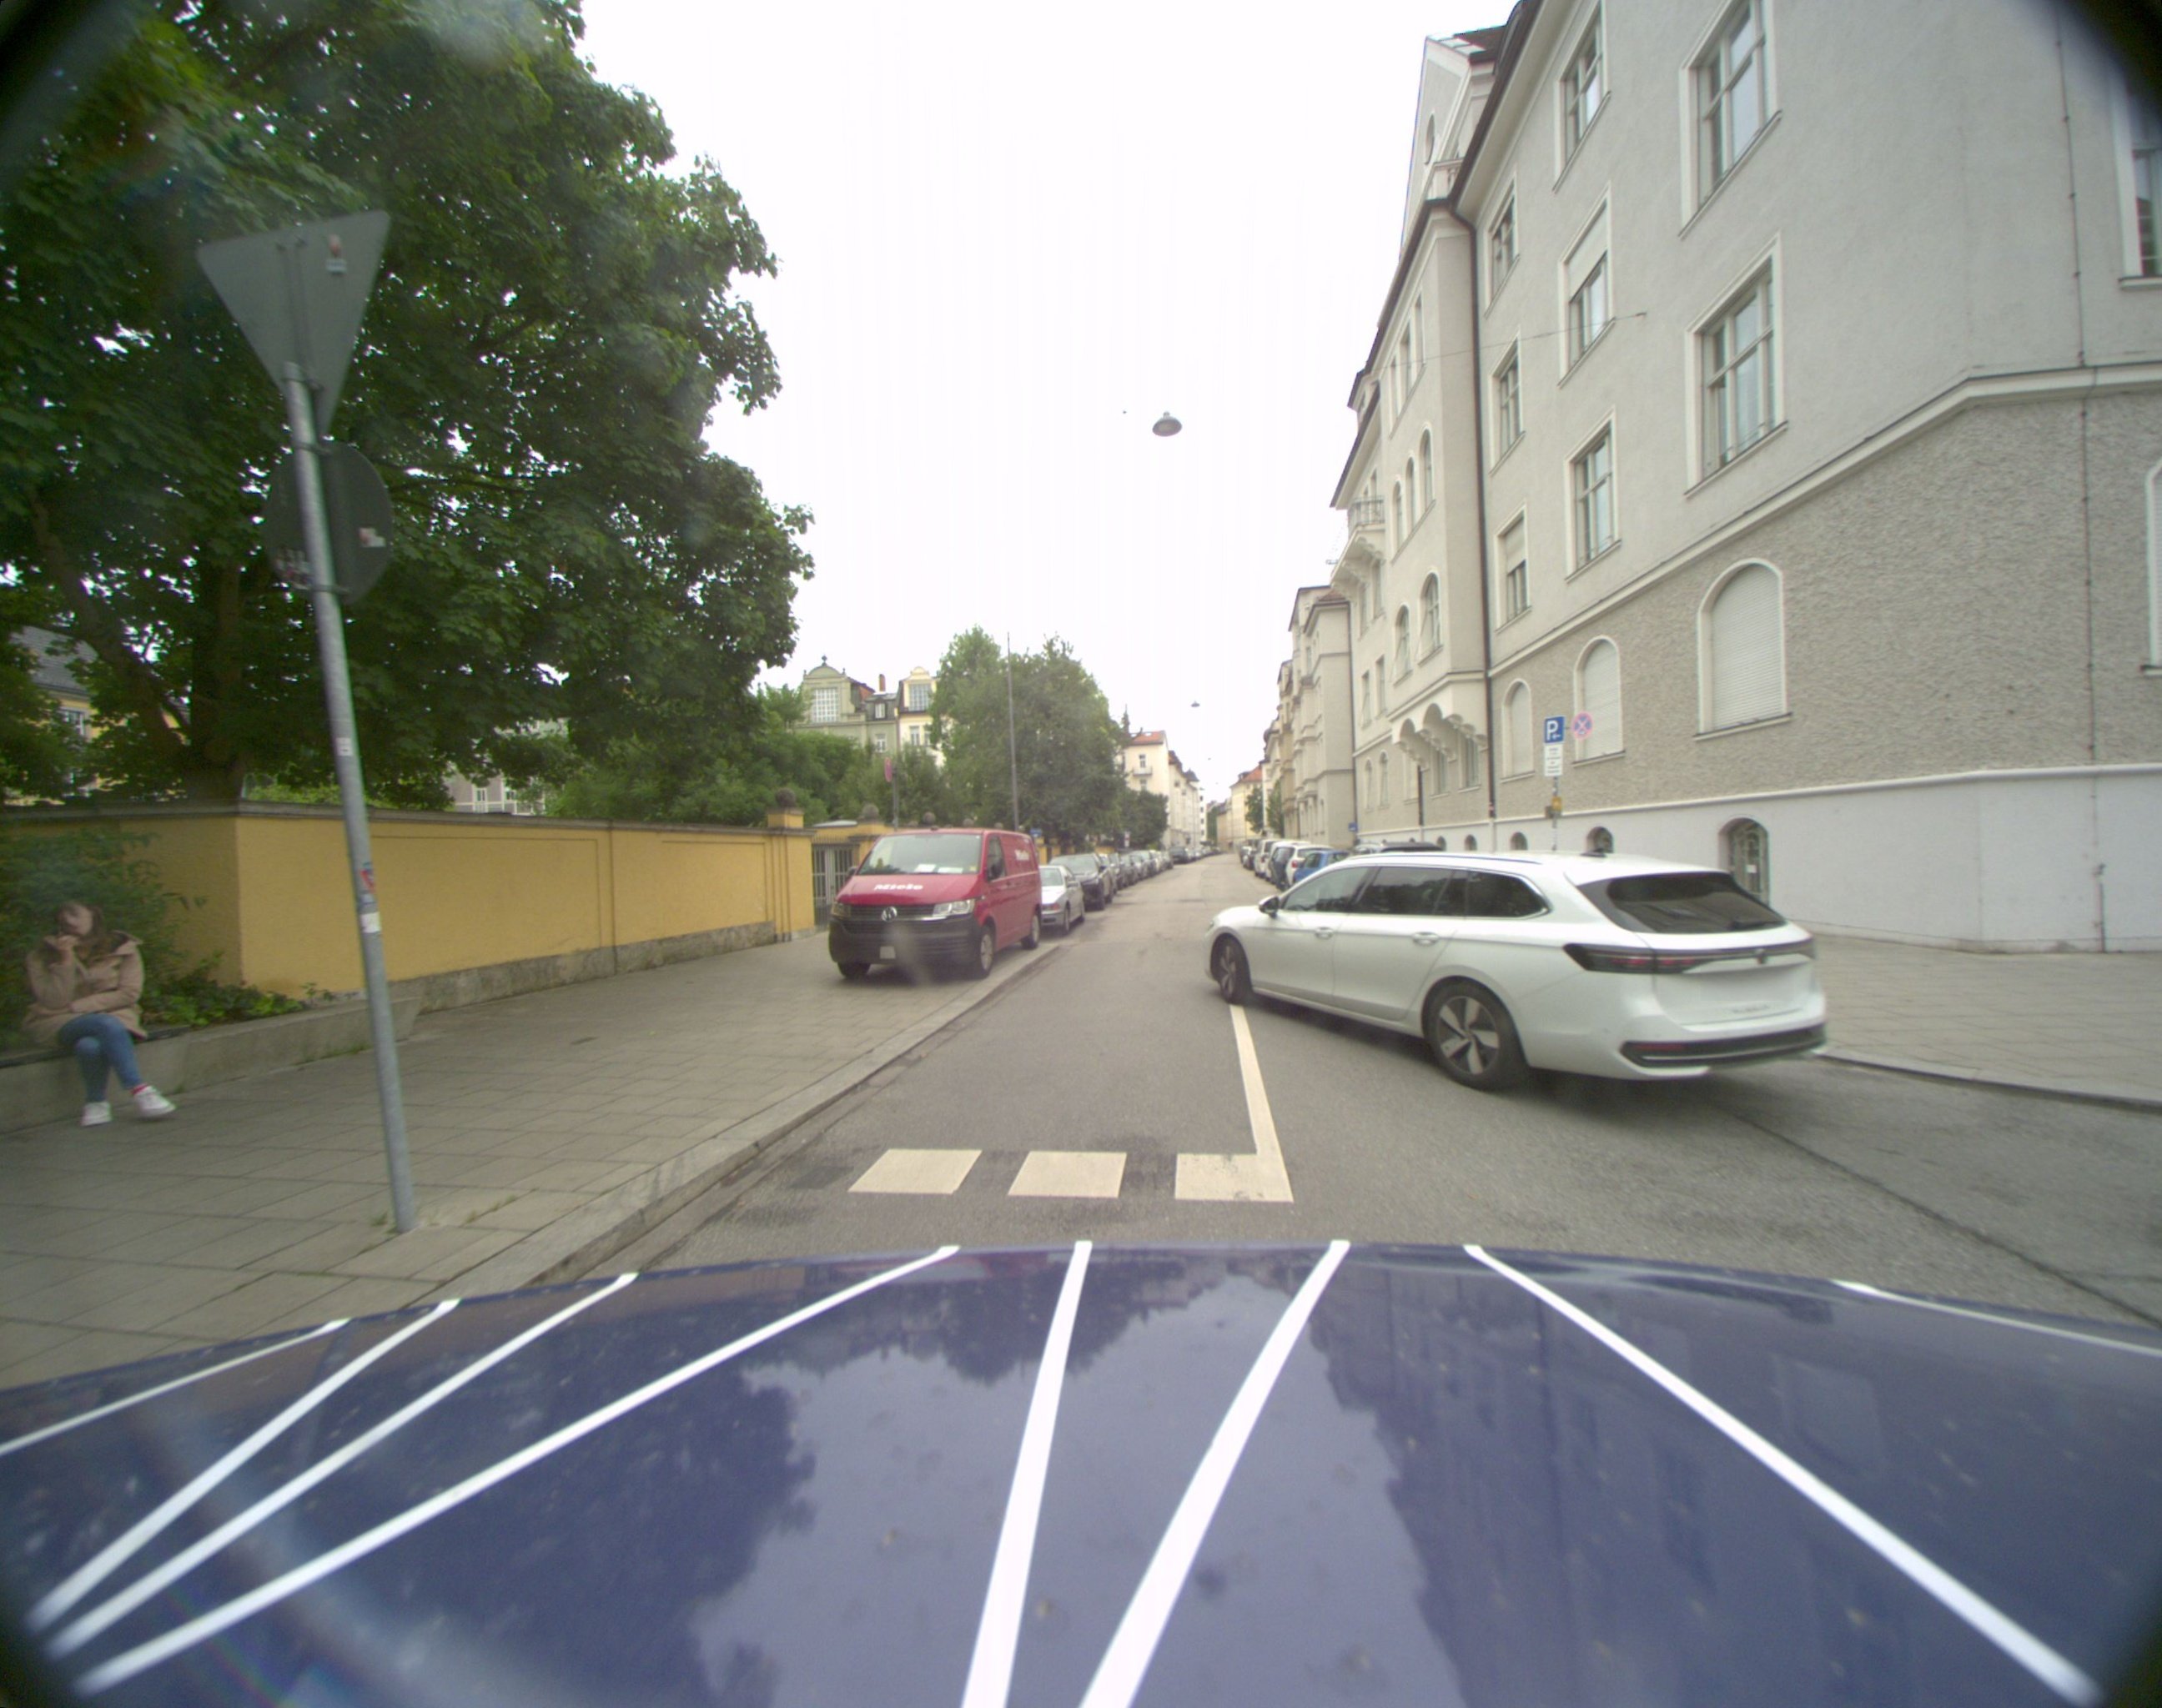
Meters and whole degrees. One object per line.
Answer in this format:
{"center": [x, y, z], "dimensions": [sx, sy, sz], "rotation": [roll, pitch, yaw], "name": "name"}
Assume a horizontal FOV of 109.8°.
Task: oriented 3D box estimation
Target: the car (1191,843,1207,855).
{"center": [18.094, -0.773, 116.113], "dimensions": [1.997, 1.585, 4.302], "rotation": [-6, -1, 13], "name": "car"}

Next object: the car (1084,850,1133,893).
{"center": [1.196, 0.701, 31.897], "dimensions": [1.510, 1.557, 2.871], "rotation": [-4, 0, 10], "name": "car"}

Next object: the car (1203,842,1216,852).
{"center": [25.310, -1.383, 149.679], "dimensions": [1.997, 1.585, 4.302], "rotation": [-6, -1, 13], "name": "car"}

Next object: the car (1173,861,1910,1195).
{"center": [2.770, 0.825, 6.101], "dimensions": [1.892, 1.440, 4.882], "rotation": [-3, 1, -21], "name": "car"}

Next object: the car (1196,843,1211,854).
{"center": [20.963, -0.946, 129.808], "dimensions": [1.997, 1.585, 4.302], "rotation": [-6, -1, 13], "name": "car"}

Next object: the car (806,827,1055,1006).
{"center": [-1.789, 0.686, 10.945], "dimensions": [1.877, 1.909, 4.890], "rotation": [-4, 0, 8], "name": "car"}

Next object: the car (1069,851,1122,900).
{"center": [0.583, 0.719, 27.505], "dimensions": [1.487, 1.530, 3.694], "rotation": [-4, 0, 6], "name": "car"}

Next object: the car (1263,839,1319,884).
{"center": [9.061, 0.252, 33.078], "dimensions": [1.750, 1.778, 5.039], "rotation": [-1, 1, 9], "name": "car"}

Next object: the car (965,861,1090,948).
{"center": [-0.994, 0.988, 16.636], "dimensions": [1.888, 1.440, 4.370], "rotation": [-4, 0, 6], "name": "car"}

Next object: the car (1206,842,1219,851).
{"center": [26.760, -1.523, 154.627], "dimensions": [1.997, 1.672, 4.303], "rotation": [-6, -1, 14], "name": "car"}

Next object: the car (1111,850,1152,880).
{"center": [2.772, 0.545, 40.751], "dimensions": [1.695, 1.406, 4.518], "rotation": [-2, 1, 10], "name": "car"}

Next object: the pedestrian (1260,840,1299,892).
{"center": [6.885, 0.405, 26.335], "dimensions": [0.874, 1.745, 0.966], "rotation": [-2, 1, 41], "name": "pedestrian"}

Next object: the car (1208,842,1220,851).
{"center": [28.045, -1.620, 159.916], "dimensions": [1.997, 1.585, 4.431], "rotation": [-6, -1, 14], "name": "car"}

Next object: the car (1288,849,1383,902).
{"center": [7.488, 0.571, 22.708], "dimensions": [1.696, 1.406, 3.662], "rotation": [-1, 1, 2], "name": "car"}

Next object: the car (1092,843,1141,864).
{"center": [3.548, -0.016, 75.279], "dimensions": [4.674, 1.860, 1.744], "rotation": [-2, -2, 6], "name": "car"}

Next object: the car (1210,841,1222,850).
{"center": [29.351, -1.858, 164.623], "dimensions": [1.996, 1.585, 4.303], "rotation": [-6, -1, 16], "name": "car"}

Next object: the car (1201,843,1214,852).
{"center": [23.384, -1.196, 140.270], "dimensions": [1.997, 1.585, 4.302], "rotation": [-6, -1, 13], "name": "car"}

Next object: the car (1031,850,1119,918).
{"center": [-0.035, 0.796, 22.658], "dimensions": [1.888, 1.643, 4.826], "rotation": [-4, 0, 7], "name": "car"}

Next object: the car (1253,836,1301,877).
{"center": [10.016, 0.098, 39.111], "dimensions": [1.859, 1.927, 4.960], "rotation": [-1, 1, 9], "name": "car"}

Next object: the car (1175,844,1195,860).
{"center": [12.169, -0.286, 88.680], "dimensions": [1.997, 1.643, 4.451], "rotation": [-6, -1, 9], "name": "car"}

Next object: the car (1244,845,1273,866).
{"center": [13.369, 0.066, 57.463], "dimensions": [1.859, 1.455, 4.381], "rotation": [-1, 1, 9], "name": "car"}

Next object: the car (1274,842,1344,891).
{"center": [8.097, 0.397, 27.353], "dimensions": [1.750, 1.593, 4.498], "rotation": [-1, 1, 8], "name": "car"}

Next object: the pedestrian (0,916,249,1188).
{"center": [-5.864, 1.080, 4.458], "dimensions": [1.011, 1.330, 0.877], "rotation": [-2, 1, 12], "name": "pedestrian"}

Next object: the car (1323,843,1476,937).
{"center": [6.208, 0.597, 15.353], "dimensions": [1.750, 1.593, 4.498], "rotation": [-1, 1, 8], "name": "car"}

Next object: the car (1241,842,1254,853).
{"center": [23.533, -0.936, 107.267], "dimensions": [1.625, 1.522, 3.692], "rotation": [-1, 1, 11], "name": "car"}

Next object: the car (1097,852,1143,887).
{"center": [1.887, 0.693, 35.841], "dimensions": [1.695, 1.406, 4.038], "rotation": [-4, 0, 8], "name": "car"}

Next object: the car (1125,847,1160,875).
{"center": [3.856, 0.398, 46.689], "dimensions": [1.716, 1.561, 4.694], "rotation": [-2, 1, 9], "name": "car"}

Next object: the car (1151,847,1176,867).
{"center": [6.705, 0.233, 61.192], "dimensions": [1.716, 1.445, 4.958], "rotation": [-2, 1, 9], "name": "car"}

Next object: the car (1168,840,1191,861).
{"center": [10.258, -0.347, 78.665], "dimensions": [1.997, 1.949, 4.436], "rotation": [-6, 0, 9], "name": "car"}

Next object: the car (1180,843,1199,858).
{"center": [13.396, -0.450, 93.493], "dimensions": [1.997, 1.585, 4.302], "rotation": [-6, -1, 10], "name": "car"}

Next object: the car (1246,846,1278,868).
{"center": [12.461, 0.190, 52.485], "dimensions": [1.859, 1.404, 4.381], "rotation": [0, 1, 9], "name": "car"}

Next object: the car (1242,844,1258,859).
{"center": [17.338, -0.283, 77.955], "dimensions": [1.625, 1.421, 3.944], "rotation": [-1, 1, 13], "name": "car"}

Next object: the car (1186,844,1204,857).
{"center": [15.883, -0.552, 105.458], "dimensions": [1.997, 1.585, 4.302], "rotation": [-6, -1, 13], "name": "car"}

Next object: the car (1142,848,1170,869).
{"center": [5.631, 0.307, 56.557], "dimensions": [1.716, 1.445, 4.186], "rotation": [-2, 1, 9], "name": "car"}

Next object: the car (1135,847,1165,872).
{"center": [4.758, 0.340, 51.905], "dimensions": [1.716, 1.561, 4.322], "rotation": [-2, 1, 9], "name": "car"}
